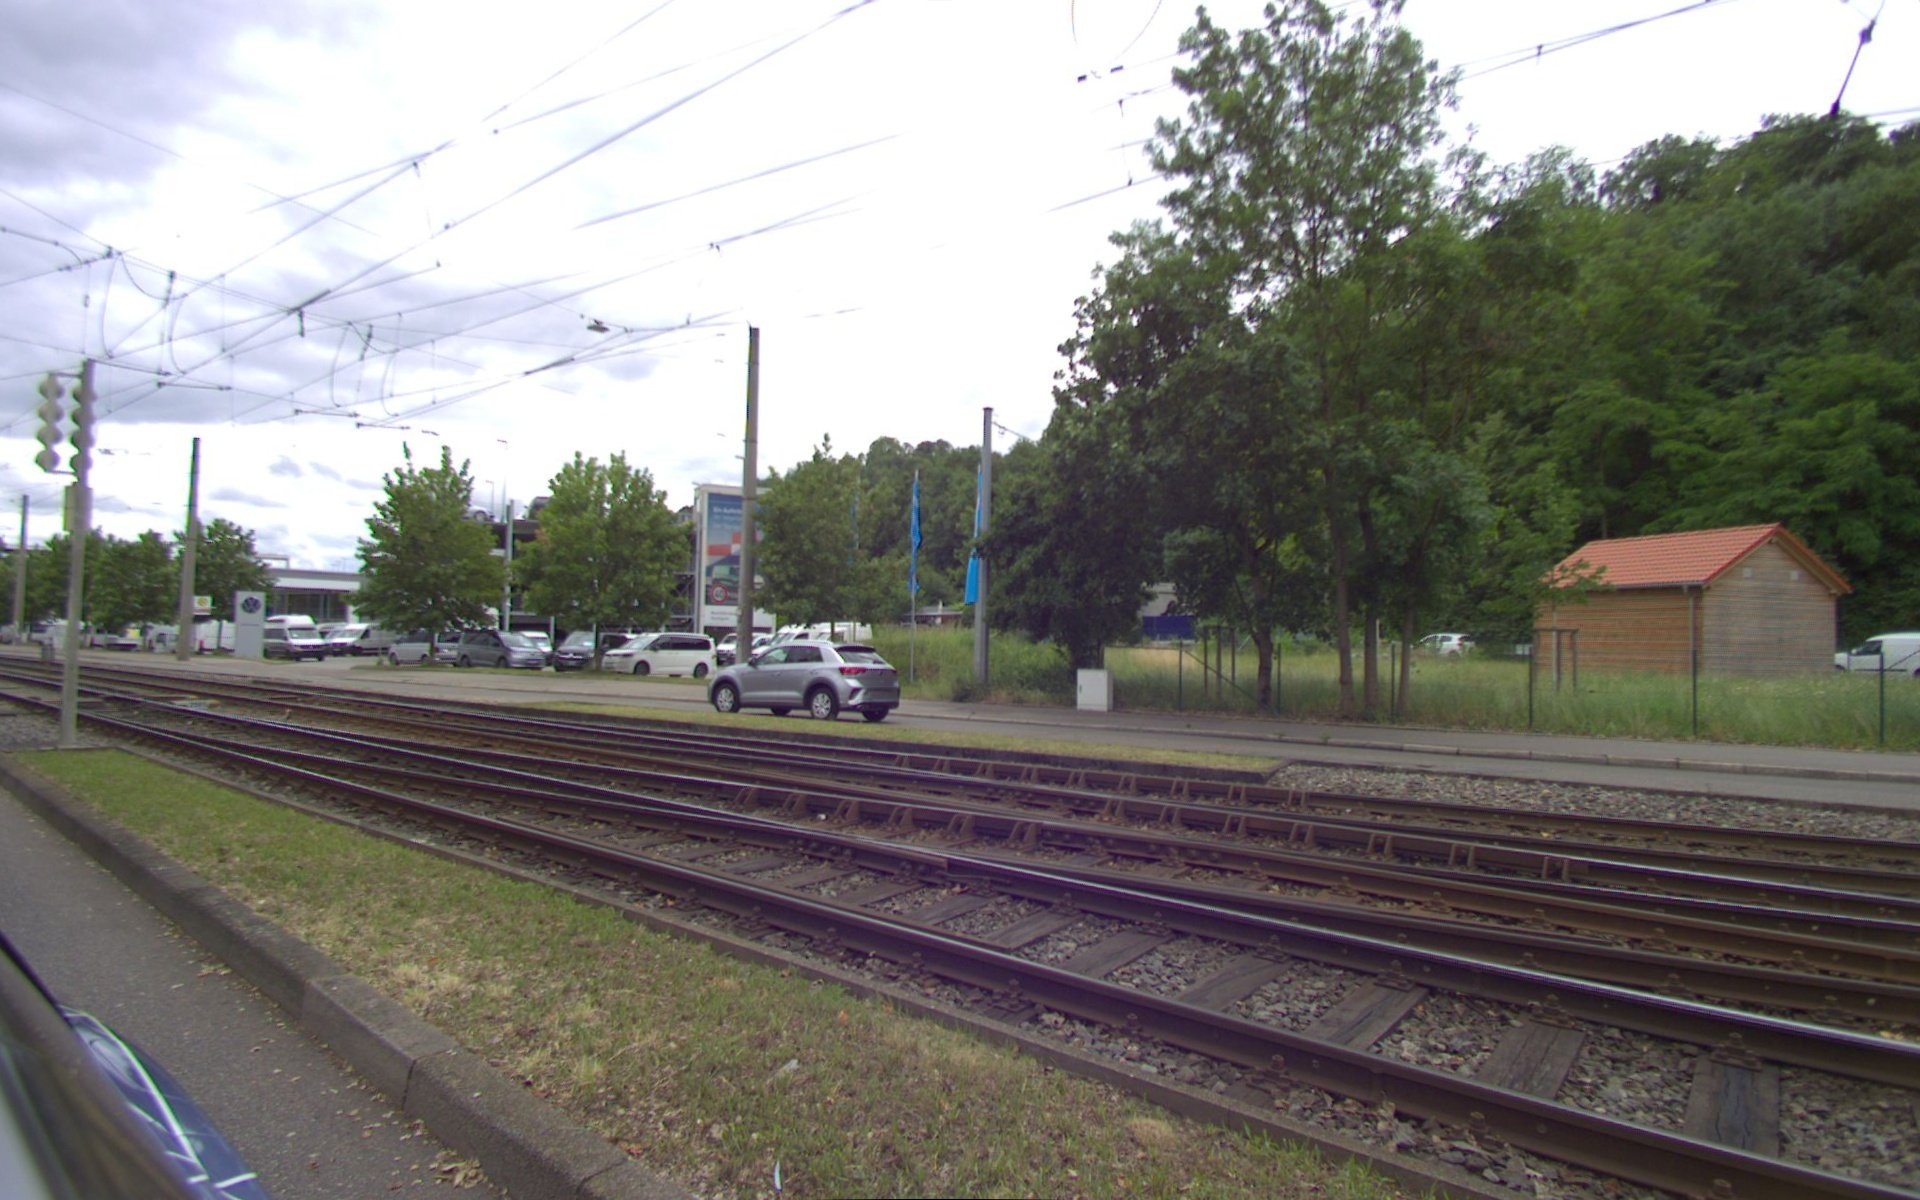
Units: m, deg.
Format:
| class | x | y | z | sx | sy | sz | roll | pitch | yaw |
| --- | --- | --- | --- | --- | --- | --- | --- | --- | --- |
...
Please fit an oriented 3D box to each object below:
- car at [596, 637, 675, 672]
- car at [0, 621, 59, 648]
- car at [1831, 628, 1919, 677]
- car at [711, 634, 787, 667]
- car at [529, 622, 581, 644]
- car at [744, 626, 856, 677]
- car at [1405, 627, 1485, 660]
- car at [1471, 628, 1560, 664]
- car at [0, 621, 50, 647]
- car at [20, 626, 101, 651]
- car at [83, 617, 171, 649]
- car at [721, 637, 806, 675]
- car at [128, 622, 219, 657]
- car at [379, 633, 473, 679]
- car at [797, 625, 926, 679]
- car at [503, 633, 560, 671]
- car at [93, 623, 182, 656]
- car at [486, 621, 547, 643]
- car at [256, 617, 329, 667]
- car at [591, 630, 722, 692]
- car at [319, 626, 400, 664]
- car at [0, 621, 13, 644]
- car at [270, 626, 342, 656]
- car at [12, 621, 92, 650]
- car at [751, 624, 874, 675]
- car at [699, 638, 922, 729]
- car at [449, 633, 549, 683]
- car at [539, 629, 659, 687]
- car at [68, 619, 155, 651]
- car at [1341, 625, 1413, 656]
| class | x | y | z | sx | sy | sz | roll | pitch | yaw |
| --- | --- | --- | --- | --- | --- | --- | --- | --- | --- |
| car | -19.424 | 3.208 | 60.621 | 4.165 | 1.850 | 1.986 | -1 | 0 | -31 |
| car | -83.597 | 3.045 | 90.148 | 2.102 | 2.225 | 4.589 | -1 | 0 | 32 |
| car | 34.186 | 1.870 | 36.533 | 1.877 | 1.625 | 3.693 | -1 | 0 | -22 |
| car | -12.978 | 3.073 | 62.222 | 4.165 | 1.850 | 1.986 | -1 | 0 | -31 |
| car | -36.876 | 2.959 | 92.197 | 4.164 | 1.850 | 1.986 | -1 | 0 | -29 |
| car | -8.577 | 2.719 | 54.335 | 5.568 | 2.479 | 1.986 | -1 | 0 | -31 |
| car | 26.488 | 2.324 | 55.390 | 1.727 | 1.625 | 3.693 | -1 | 0 | -25 |
| car | 28.183 | 2.303 | 51.435 | 1.727 | 1.625 | 3.693 | -1 | 0 | -22 |
| car | -85.620 | 3.071 | 91.522 | 2.102 | 2.225 | 4.589 | -1 | 0 | 32 |
| car | -73.591 | 3.102 | 82.867 | 2.102 | 1.854 | 4.589 | -1 | 0 | 32 |
| car | -61.480 | 2.388 | 74.745 | 2.102 | 2.225 | 4.589 | -1 | 0 | 32 |
| car | -10.914 | 3.063 | 56.260 | 4.165 | 1.850 | 1.986 | -1 | 0 | -31 |
| car | -54.951 | 2.724 | 70.812 | 2.102 | 2.225 | 4.589 | -1 | 0 | 32 |
| car | -27.047 | 2.771 | 51.208 | 4.761 | 2.132 | 2.119 | -1 | 0 | 32 |
| car | -4.696 | 2.417 | 48.369 | 5.762 | 2.284 | 2.060 | -1 | 0 | -28 |
| car | -24.512 | 2.929 | 57.817 | 1.872 | 1.907 | 4.606 | -1 | 0 | -38 |
| car | -59.498 | 2.815 | 73.297 | 2.102 | 2.225 | 4.589 | -1 | 0 | 32 |
| car | -41.809 | 2.973 | 95.386 | 5.138 | 1.850 | 1.986 | -1 | 0 | -29 |
| car | -43.177 | 2.658 | 65.417 | 6.154 | 3.034 | 2.291 | -1 | 0 | 40 |
| car | -12.840 | 2.524 | 43.109 | 1.997 | 2.284 | 5.206 | -1 | 0 | 37 |
| car | -46.473 | 3.432 | 78.526 | 2.293 | 2.642 | 6.036 | -1 | 0 | 6 |
| car | -94.076 | 3.180 | 96.862 | 2.102 | 2.225 | 4.589 | -1 | 0 | 32 |
| car | -53.659 | 3.316 | 83.129 | 2.107 | 2.225 | 4.579 | -1 | 0 | 39 |
| car | -75.559 | 2.942 | 84.268 | 2.102 | 2.225 | 4.589 | -1 | 0 | 32 |
| car | -7.396 | 2.451 | 51.053 | 5.751 | 2.284 | 2.060 | -1 | 0 | -28 |
| car | -3.013 | 1.584 | 20.126 | 4.167 | 1.590 | 1.976 | -1 | -3 | 35 |
| car | -21.789 | 2.699 | 47.787 | 4.763 | 2.132 | 2.118 | -1 | 0 | 34 |
| car | -15.995 | 2.517 | 45.054 | 1.977 | 2.284 | 4.717 | -1 | 0 | 37 |
| car | -63.858 | 2.617 | 76.229 | 2.102 | 2.225 | 4.589 | -1 | 0 | 32 |
| car | 24.476 | 2.349 | 59.461 | 1.727 | 1.625 | 3.693 | -1 | 0 | -25 |
